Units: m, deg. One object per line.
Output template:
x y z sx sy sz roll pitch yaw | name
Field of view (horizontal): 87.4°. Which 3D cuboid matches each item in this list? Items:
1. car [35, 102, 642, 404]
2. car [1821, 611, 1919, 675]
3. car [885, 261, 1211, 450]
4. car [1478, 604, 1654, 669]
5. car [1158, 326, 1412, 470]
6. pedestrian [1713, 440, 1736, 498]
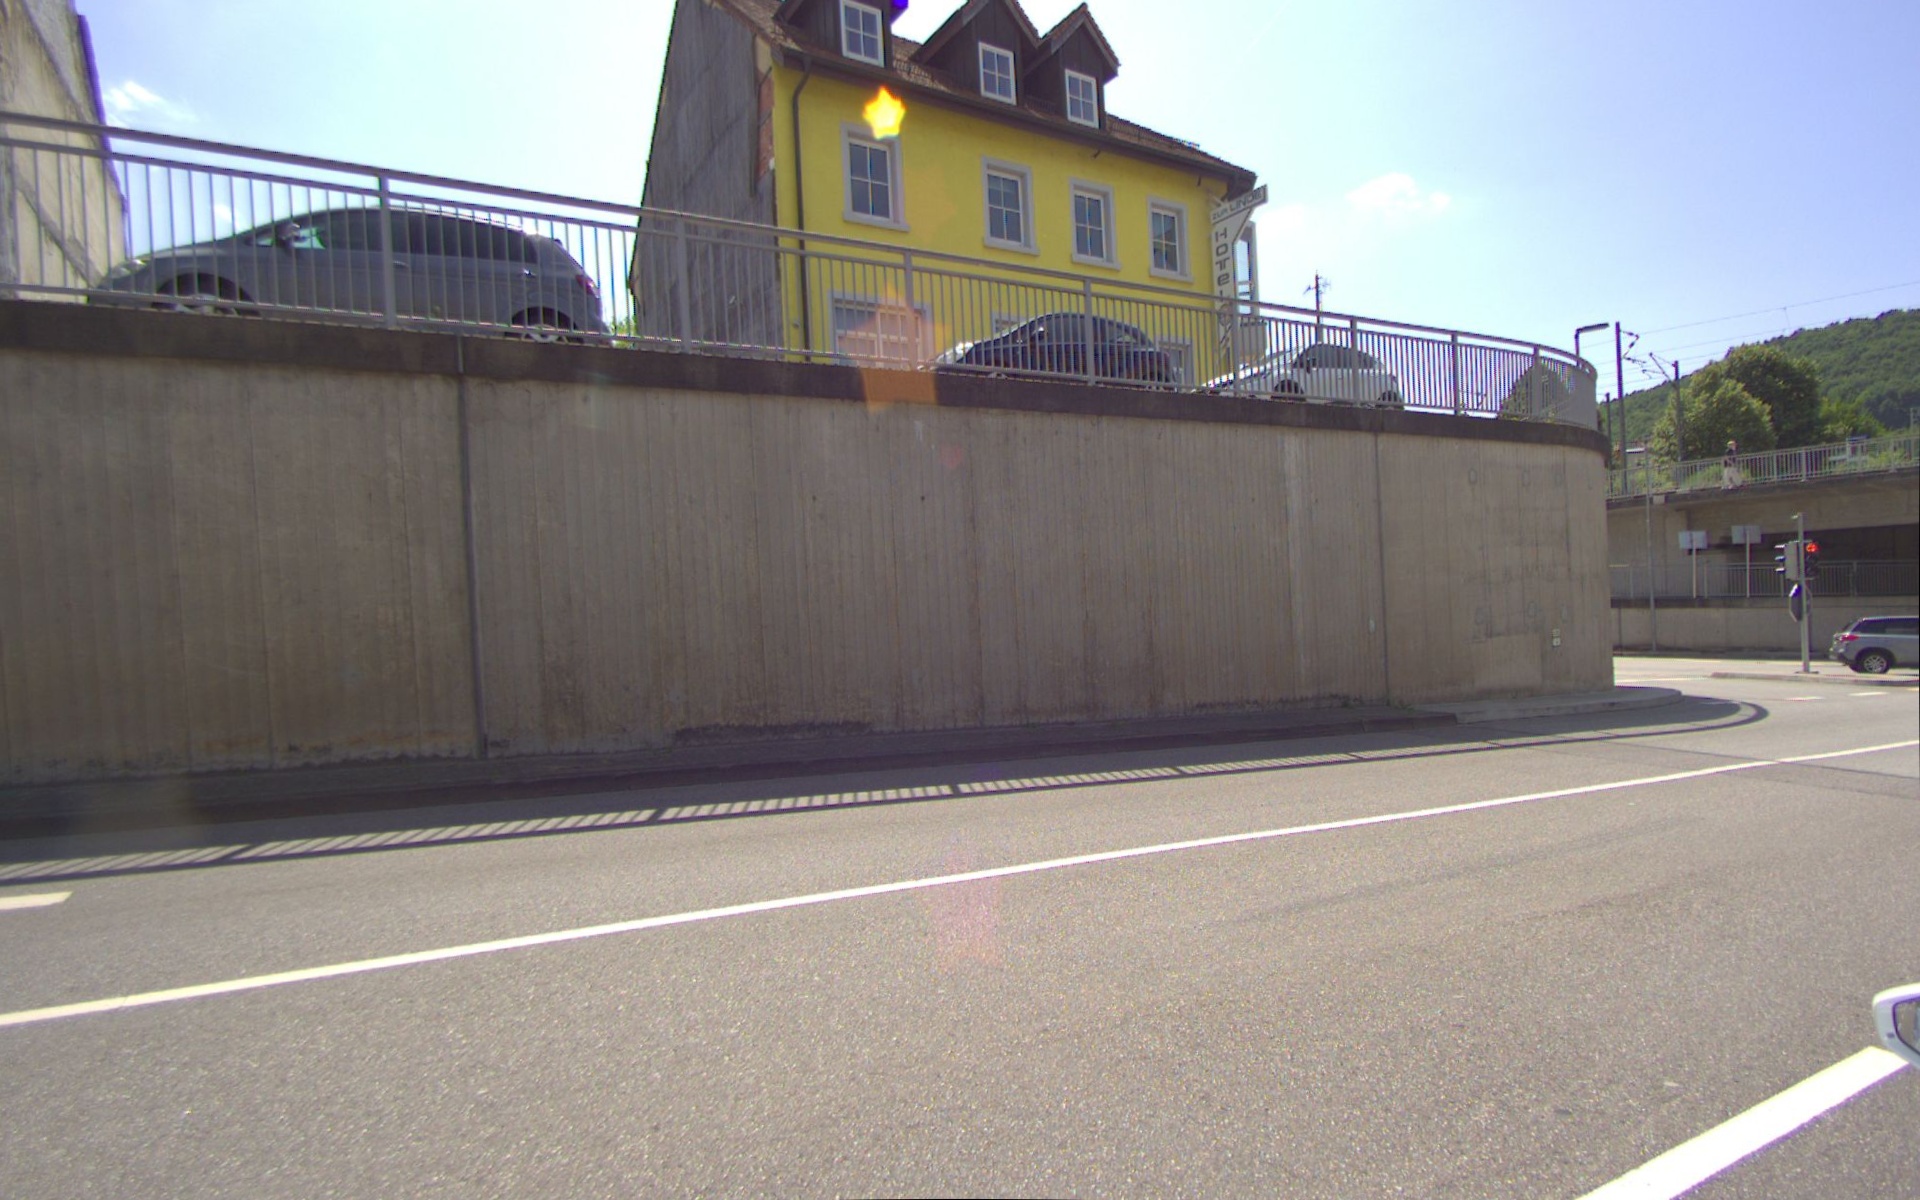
-5.385 -2.917 9.290 4.345 1.545 1.788 -2 0 -33 | car
26.074 1.139 27.276 3.936 1.639 1.803 -1 1 37 | car
1.258 -3.154 13.674 4.176 1.728 1.812 -2 1 -33 | car
20.064 1.174 33.446 1.863 1.958 4.666 -2 0 -39 | car
5.390 -3.196 16.546 3.955 1.690 1.892 -2 0 -32 | car
29.187 -4.995 38.328 0.531 2.108 0.571 1 -2 -40 | pedestrian
